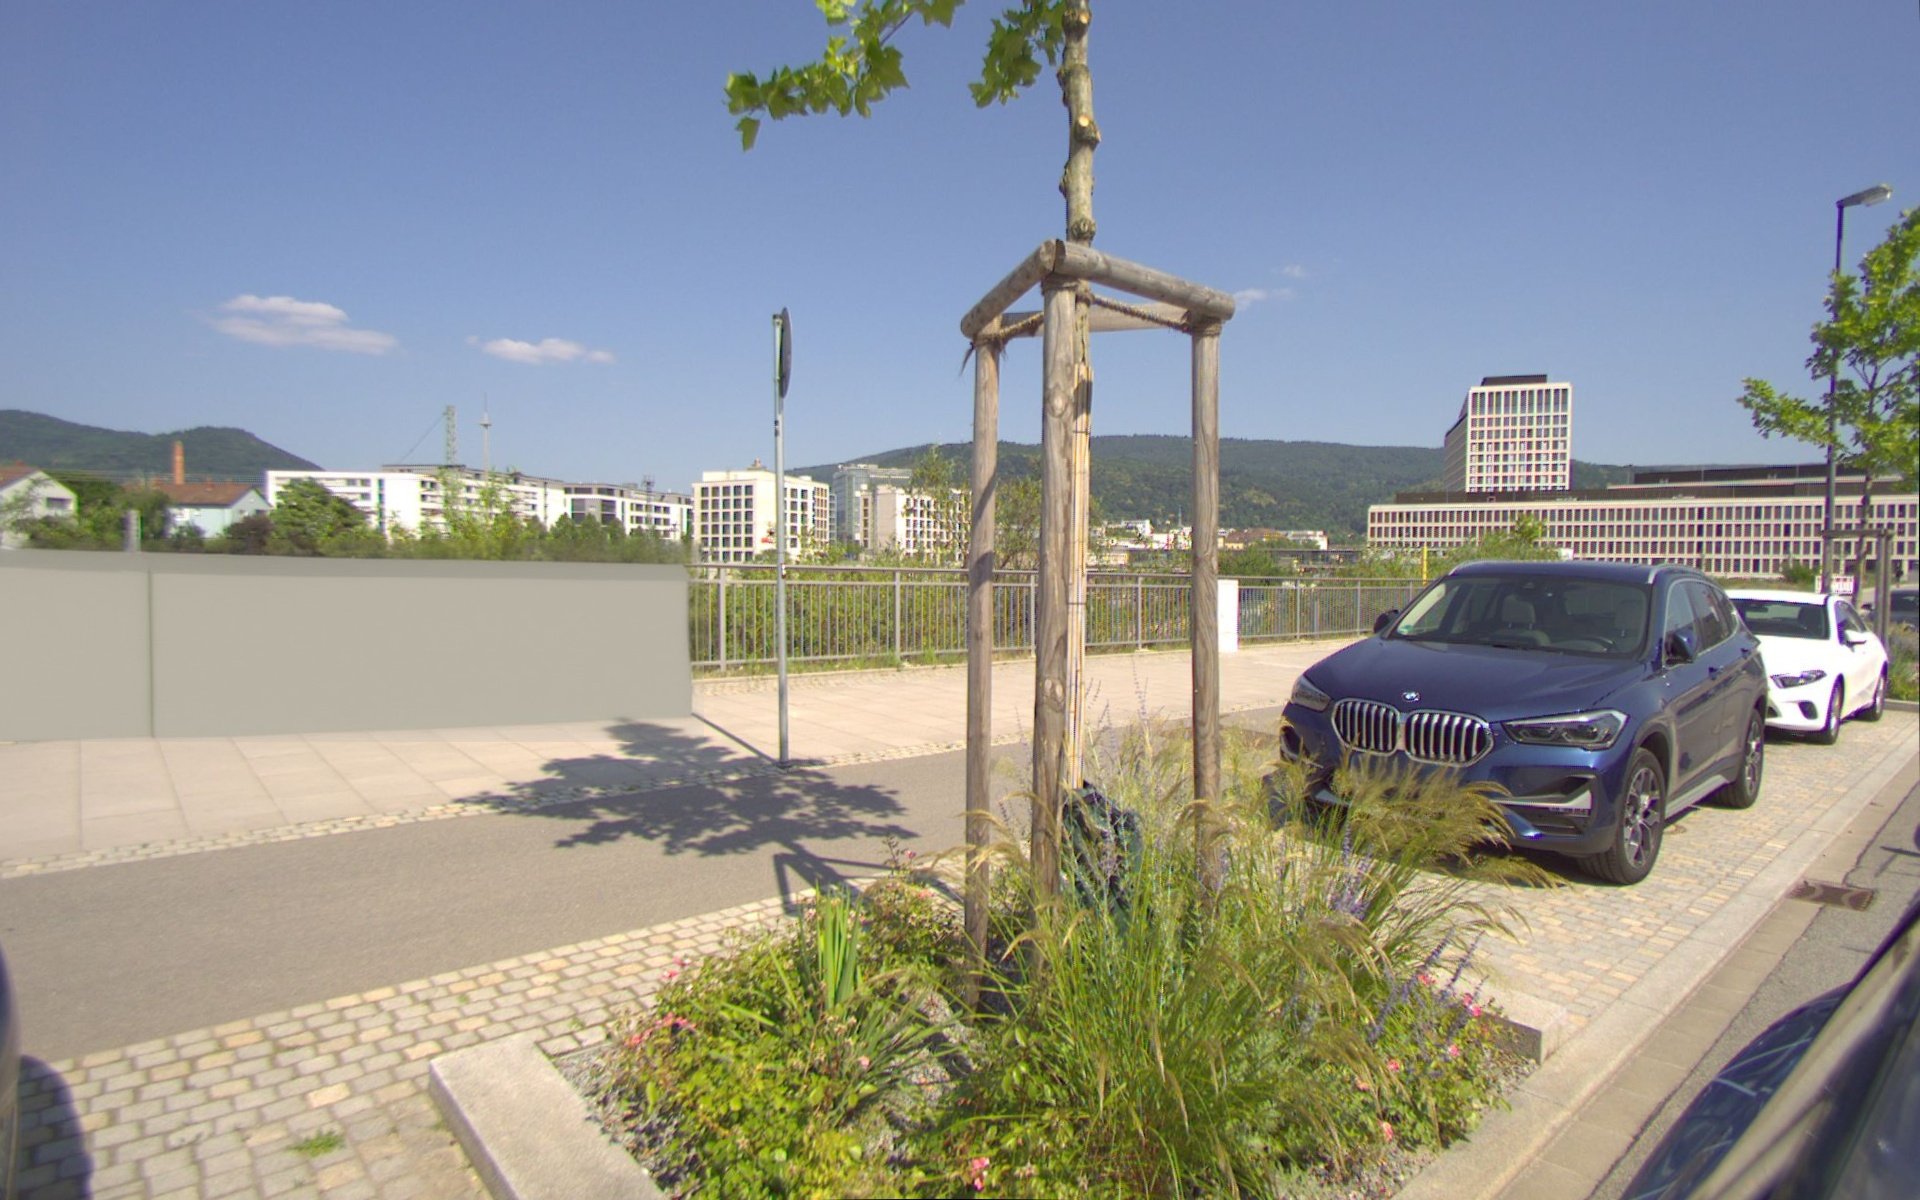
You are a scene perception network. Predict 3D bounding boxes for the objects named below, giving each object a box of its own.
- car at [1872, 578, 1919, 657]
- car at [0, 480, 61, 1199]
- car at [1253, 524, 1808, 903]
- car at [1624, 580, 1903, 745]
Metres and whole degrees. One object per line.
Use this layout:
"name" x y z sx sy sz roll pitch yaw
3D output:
"car" 20.362 0.327 21.001 3.930 1.558 1.663 -1 0 -41
"car" -2.984 0.569 0.365 3.930 1.443 1.664 -1 4 -41
"car" 3.797 0.463 6.399 4.164 1.627 1.768 -1 0 -41
"car" 8.770 0.531 10.931 3.930 1.473 1.663 -1 0 -41
